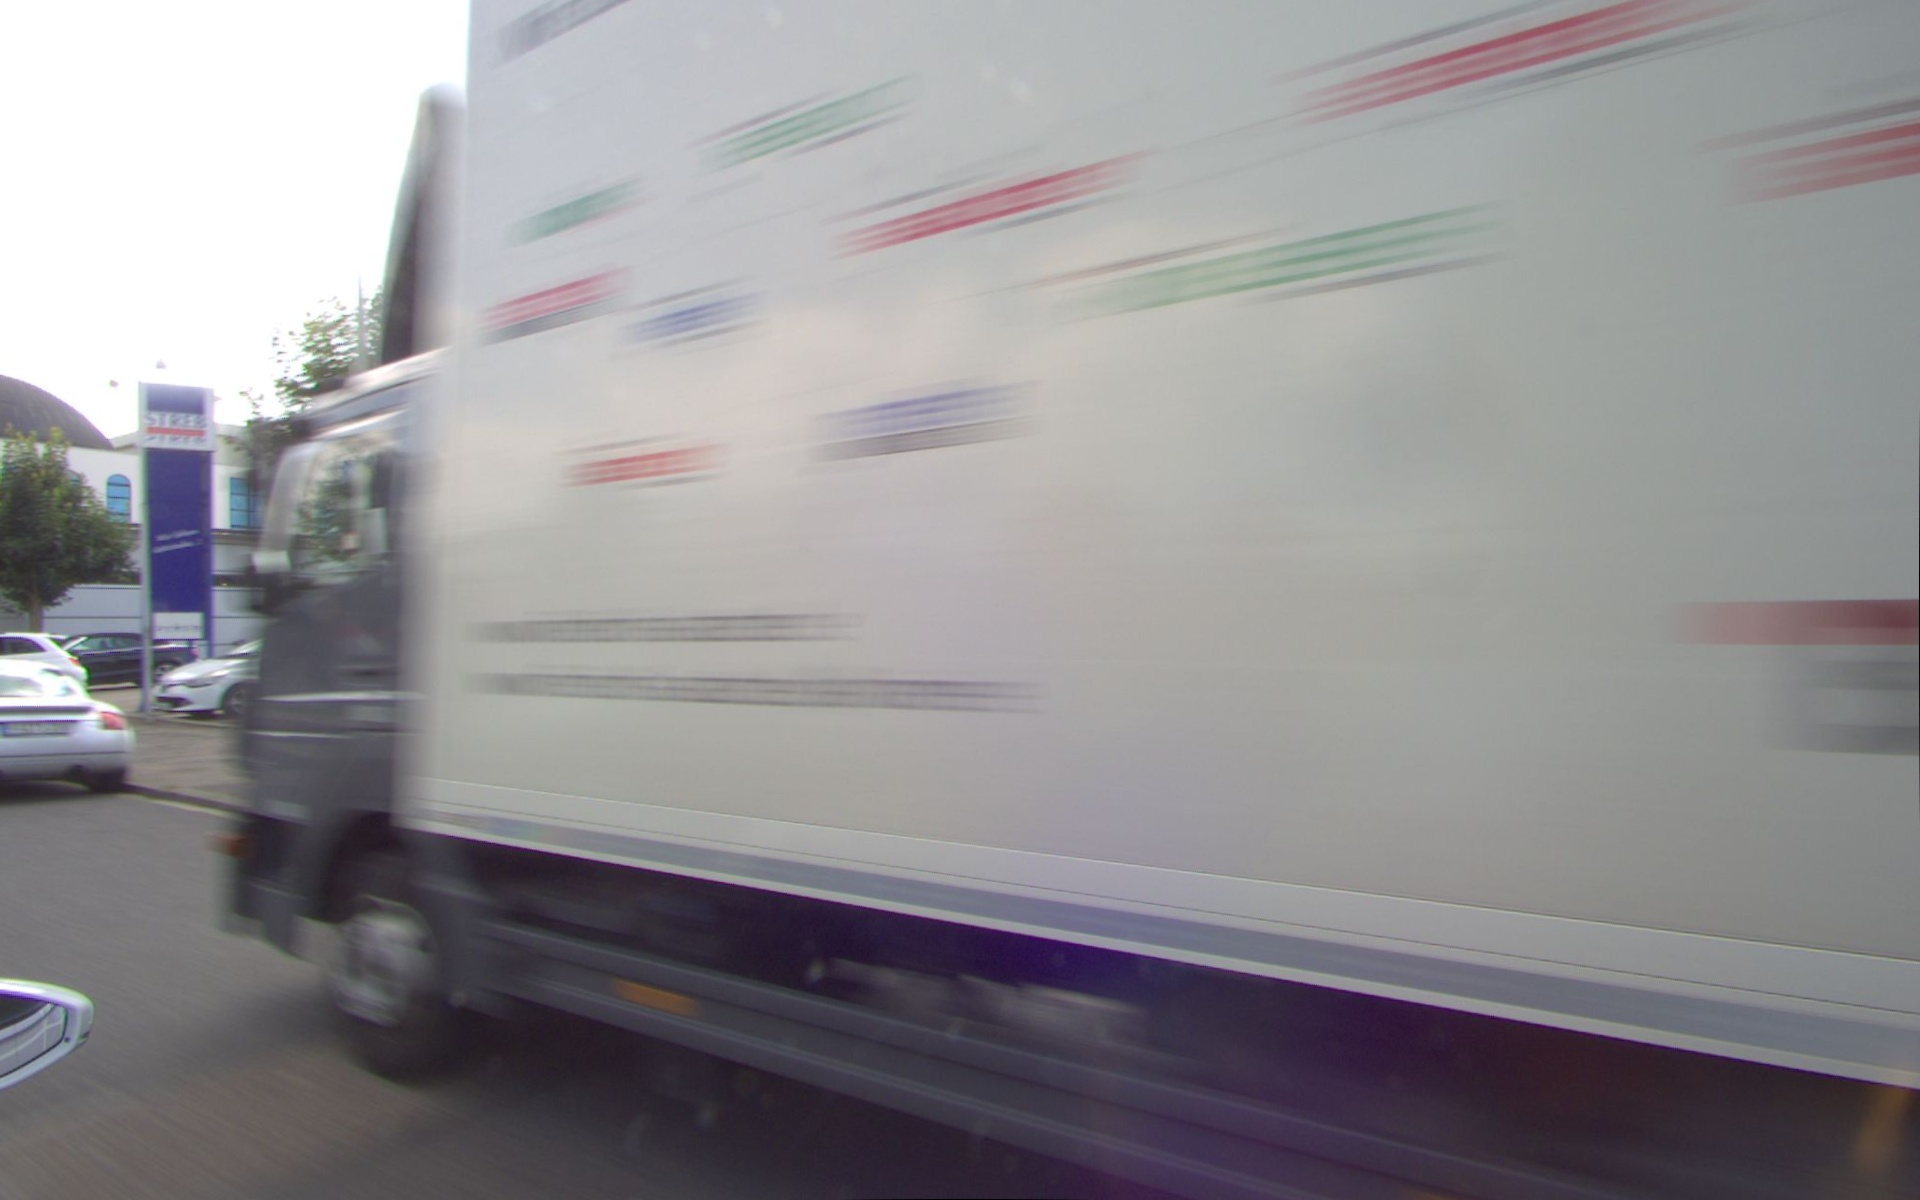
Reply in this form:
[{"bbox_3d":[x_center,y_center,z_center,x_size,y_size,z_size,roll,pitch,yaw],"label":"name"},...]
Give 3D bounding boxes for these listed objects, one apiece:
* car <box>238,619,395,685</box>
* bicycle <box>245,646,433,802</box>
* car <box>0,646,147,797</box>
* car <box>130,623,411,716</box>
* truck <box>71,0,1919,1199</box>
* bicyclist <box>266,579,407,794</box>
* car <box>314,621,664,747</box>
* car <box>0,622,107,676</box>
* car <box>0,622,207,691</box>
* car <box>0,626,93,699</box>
[{"bbox_3d":[-16.520,1.267,25.982,1.655,1.430,4.385,-1,0,-7],"label":"car"},{"bbox_3d":[-6.000,1.129,9.653,1.857,1.313,0.789,-1,2,34],"label":"bicycle"},{"bbox_3d":[-10.275,1.153,10.354,3.927,1.356,1.660,-1,-5,32],"label":"car"},{"bbox_3d":[-12.694,1.196,18.709,1.769,1.429,3.947,-1,0,29],"label":"car"},{"bbox_3d":[0.726,-0.475,2.988,8.161,4.166,2.775,-1,-4,33],"label":"truck"},{"bbox_3d":[-5.989,0.793,9.633,0.817,1.936,0.792,-1,3,34],"label":"bicyclist"},{"bbox_3d":[-6.540,1.064,14.417,1.819,1.462,4.301,-1,0,30],"label":"car"},{"bbox_3d":[-27.837,1.434,29.188,1.960,1.482,4.098,-1,0,29],"label":"car"},{"bbox_3d":[-21.383,1.325,24.658,1.779,1.449,4.175,-1,0,29],"label":"car"},{"bbox_3d":[-20.921,1.332,21.197,1.666,1.489,3.588,-1,0,36],"label":"car"}]
